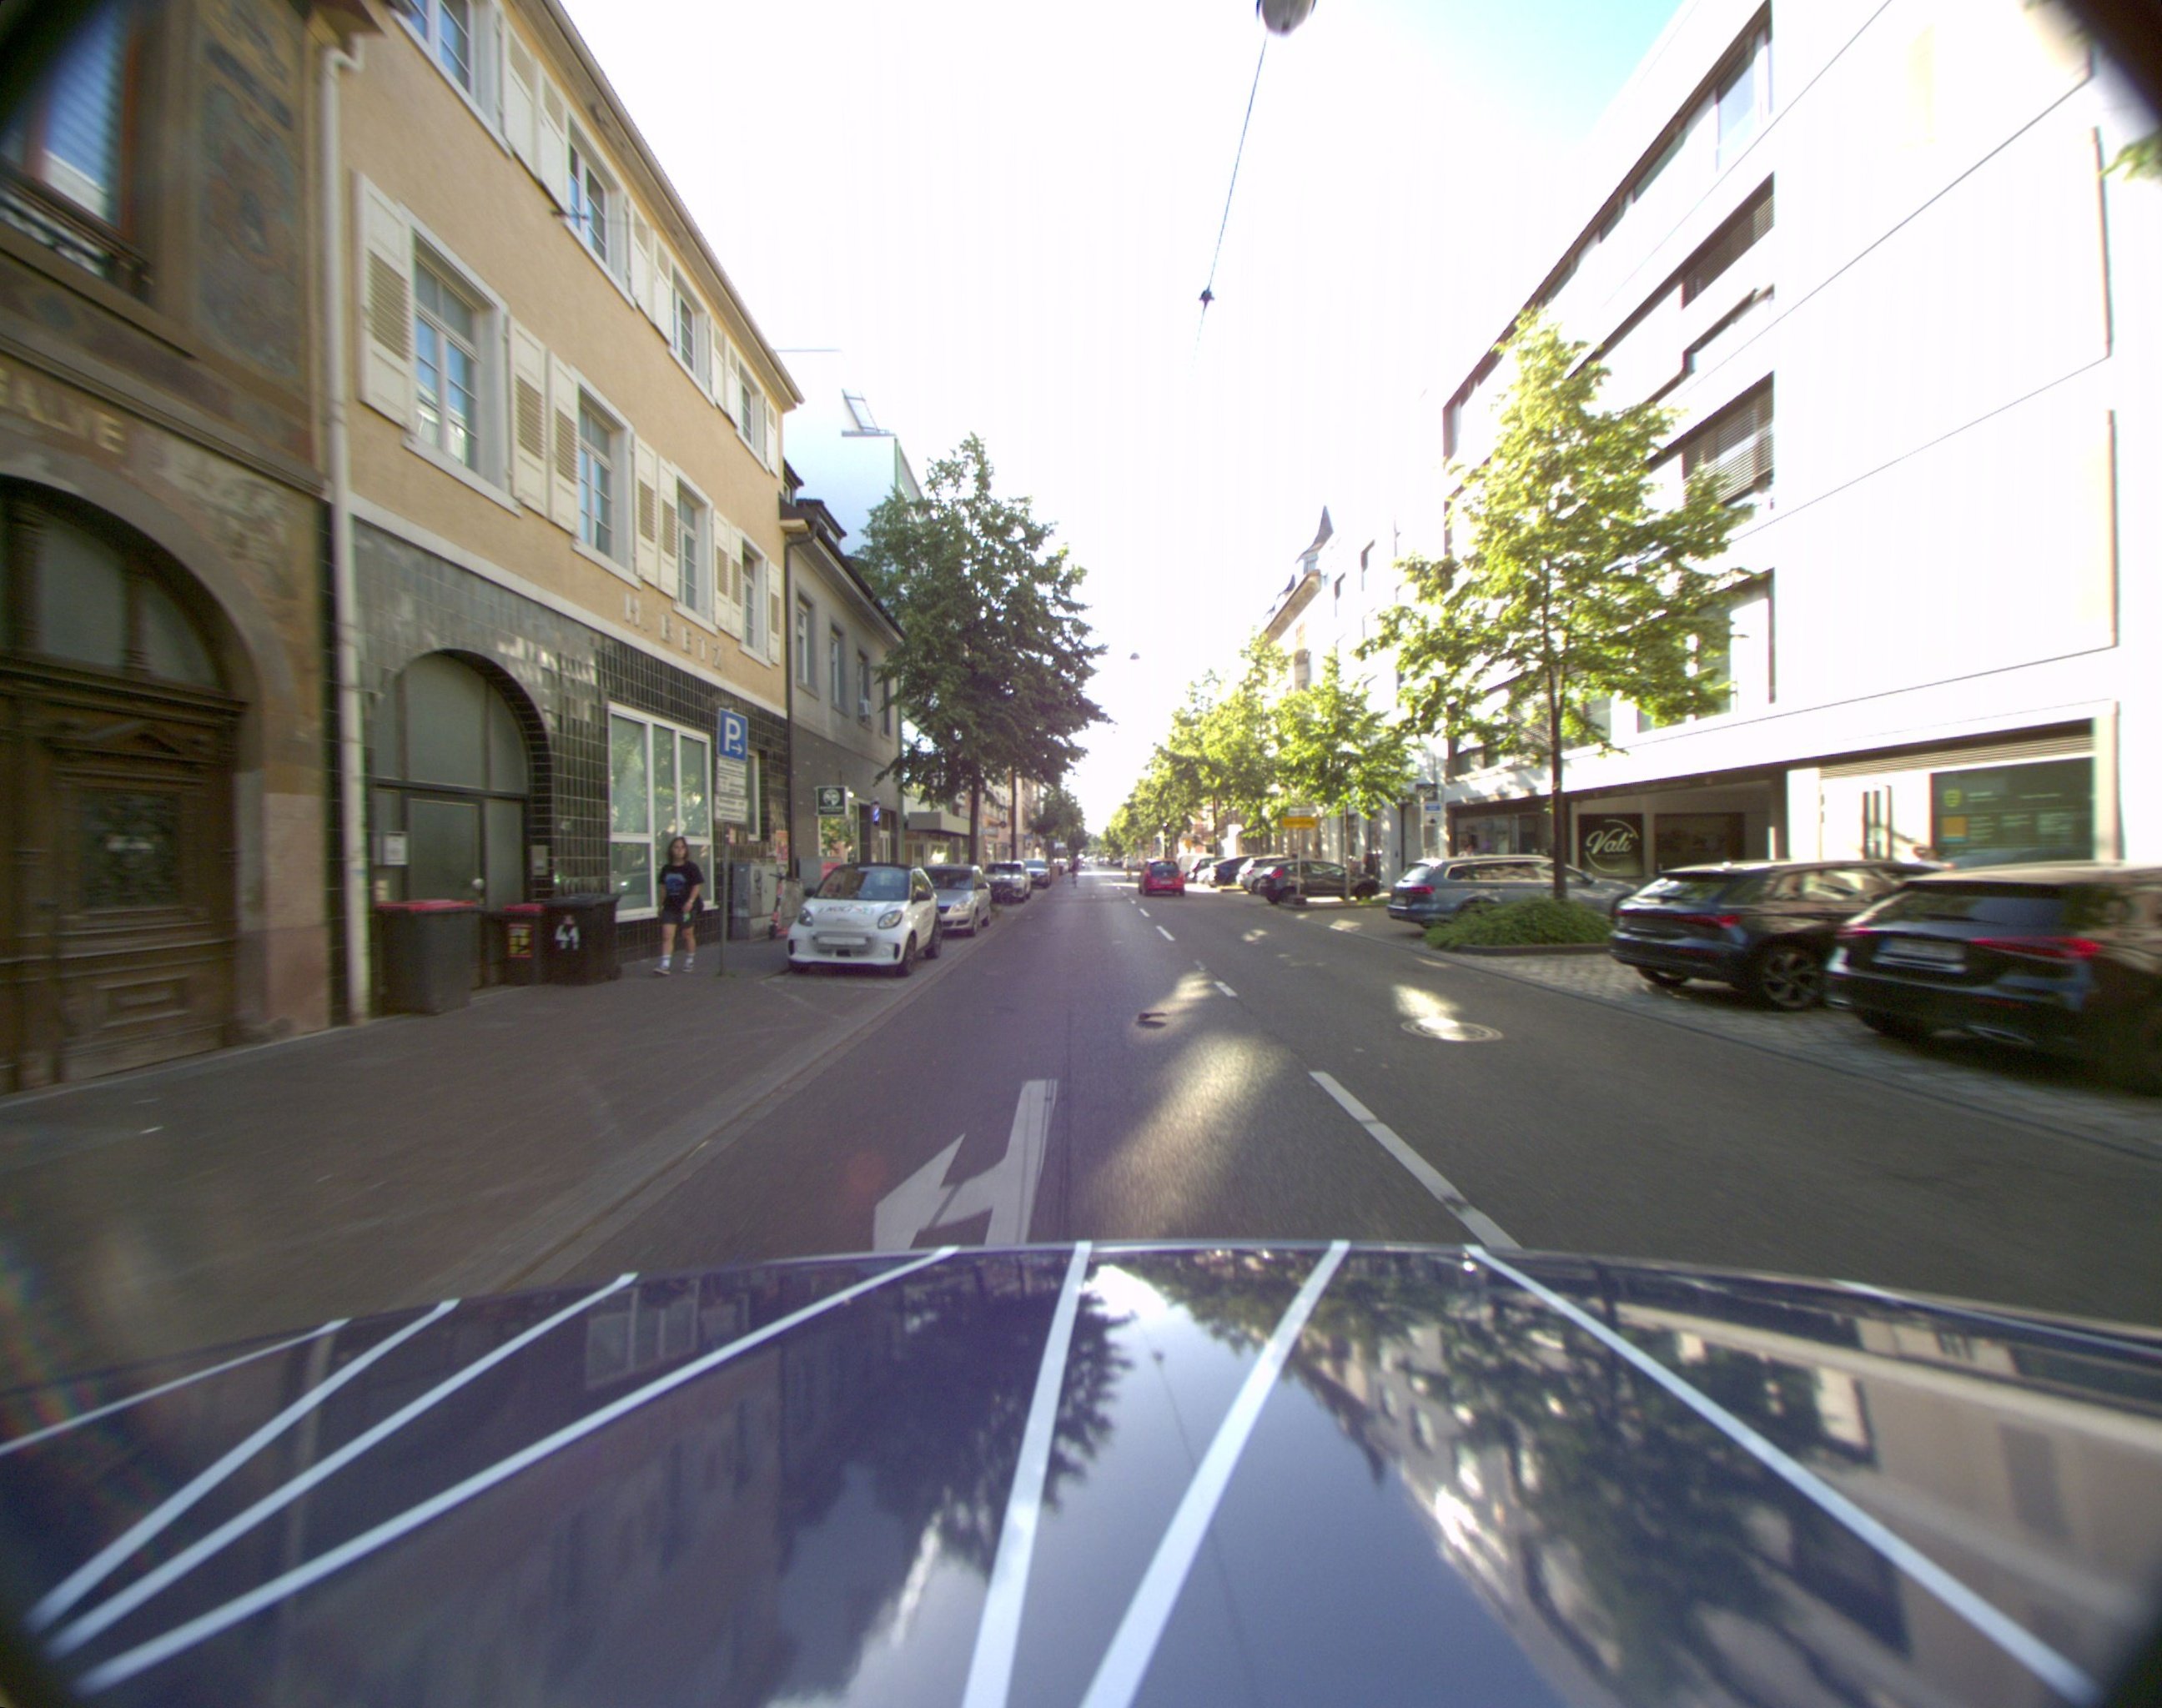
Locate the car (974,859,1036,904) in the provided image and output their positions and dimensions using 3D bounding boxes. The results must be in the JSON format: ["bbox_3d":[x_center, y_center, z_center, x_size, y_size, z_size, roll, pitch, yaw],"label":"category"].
[{"bbox_3d":[-2.829,0.989,29.082,1.888,1.518,4.234,1,0,0],"label":"car"}]

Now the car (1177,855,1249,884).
[{"bbox_3d":[7.564,0.865,43.829,3.809,1.549,1.792,-1,0,1],"label":"car"}]

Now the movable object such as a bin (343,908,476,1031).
[{"bbox_3d":[-6.282,1.058,7.145,0.590,1.034,0.722,1,0,2],"label":"movable object such as a bin"}]

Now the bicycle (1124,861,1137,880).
[{"bbox_3d":[3.112,1.045,47.973,0.727,1.162,2.197,-1,0,1],"label":"bicycle"}]

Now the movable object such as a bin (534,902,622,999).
[{"bbox_3d":[-5.848,1.105,8.867,0.523,1.034,0.722,1,0,2],"label":"movable object such as a bin"}]

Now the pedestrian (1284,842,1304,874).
[{"bbox_3d":[12.160,0.210,43.480,0.776,1.756,0.763,-5,1,-1],"label":"pedestrian"}]

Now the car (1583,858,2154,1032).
[{"bbox_3d":[7.734,0.844,7.803,3.928,1.477,1.771,-2,0,2],"label":"car"}]

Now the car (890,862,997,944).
[{"bbox_3d":[-2.961,1.003,17.218,1.618,1.520,4.234,2,0,0],"label":"car"}]

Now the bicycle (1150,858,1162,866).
[{"bbox_3d":[9.032,0.984,91.745,1.513,0.945,0.360,-2,1,41],"label":"bicycle"}]

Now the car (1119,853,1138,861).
[{"bbox_3d":[10.645,0.633,169.679,4.134,1.792,1.911,-1,0,0],"label":"car"}]

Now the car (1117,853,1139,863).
[{"bbox_3d":[9.155,0.714,149.297,4.134,1.792,1.911,-1,0,0],"label":"car"}]

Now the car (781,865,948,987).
[{"bbox_3d":[-3.096,0.964,11.439,1.618,1.520,3.060,1,0,0],"label":"car"}]

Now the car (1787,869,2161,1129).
[{"bbox_3d":[7.724,0.858,5.298,3.850,1.420,1.790,-2,0,2],"label":"car"}]

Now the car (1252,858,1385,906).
[{"bbox_3d":[7.806,0.904,25.208,3.790,1.450,1.780,-1,0,-3],"label":"car"}]

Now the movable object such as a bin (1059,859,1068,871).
[{"bbox_3d":[-1.925,1.176,81.969,0.944,1.207,0.699,0,1,1],"label":"movable object such as a bin"}]

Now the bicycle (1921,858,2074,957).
[{"bbox_3d":[12.083,0.669,10.071,0.457,1.185,1.298,-3,0,4],"label":"bicycle"}]

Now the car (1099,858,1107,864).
[{"bbox_3d":[5.236,1.620,183.519,1.835,1.410,3.833,0,0,1],"label":"car"}]

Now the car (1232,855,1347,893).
[{"bbox_3d":[8.738,0.829,32.026,4.257,1.450,1.980,-1,0,-3],"label":"car"}]

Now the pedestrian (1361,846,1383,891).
[{"bbox_3d":[11.879,0.594,30.995,0.700,1.787,0.746,-1,0,12],"label":"pedestrian"}]

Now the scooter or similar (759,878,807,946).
[{"bbox_3d":[-5.621,1.075,14.381,0.400,1.180,1.168,1,0,2],"label":"scooter or similar"}]

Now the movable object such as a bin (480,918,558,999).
[{"bbox_3d":[-6.394,1.180,8.660,0.512,0.855,0.479,-1,0,2],"label":"movable object such as a bin"}]

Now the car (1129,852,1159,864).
[{"bbox_3d":[9.119,0.534,110.402,4.134,1.670,2.000,-1,0,0],"label":"car"}]

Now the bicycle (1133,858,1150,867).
[{"bbox_3d":[7.319,0.994,92.449,2.006,1.023,0.473,-3,1,-12],"label":"bicycle"}]

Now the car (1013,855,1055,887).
[{"bbox_3d":[-2.604,0.911,42.830,1.998,1.680,4.516,2,0,0],"label":"car"}]

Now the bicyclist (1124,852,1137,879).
[{"bbox_3d":[3.098,0.703,47.847,0.727,1.690,1.282,-1,0,1],"label":"bicyclist"}]

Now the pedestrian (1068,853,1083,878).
[{"bbox_3d":[-0.301,0.648,43.715,0.804,1.381,0.931,-2,0,-1],"label":"pedestrian"}]

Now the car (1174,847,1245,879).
[{"bbox_3d":[8.071,0.559,47.984,4.115,1.825,2.039,-2,0,1],"label":"car"}]

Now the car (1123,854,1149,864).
[{"bbox_3d":[9.095,0.855,126.123,4.134,1.584,1.911,-1,0,0],"label":"car"}]

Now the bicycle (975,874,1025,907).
[{"bbox_3d":[-2.828,1.272,26.530,1.626,1.007,0.611,3,0,-1],"label":"bicycle"}]

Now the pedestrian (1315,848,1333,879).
[{"bbox_3d":[11.965,0.447,37.438,0.594,1.485,0.842,-4,0,2],"label":"pedestrian"}]

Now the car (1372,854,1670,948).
[{"bbox_3d":[8.078,0.834,14.239,4.504,1.450,1.790,-3,0,0],"label":"car"}]

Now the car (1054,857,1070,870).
[{"bbox_3d":[-2.206,1.090,89.110,1.835,1.410,4.159,1,0,0],"label":"car"}]

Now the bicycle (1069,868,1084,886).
[{"bbox_3d":[-0.271,1.324,43.747,0.805,0.958,1.996,-2,-1,0],"label":"bicycle"}]

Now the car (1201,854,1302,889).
[{"bbox_3d":[8.155,0.820,36.637,4.377,1.561,1.980,-1,0,1],"label":"car"}]

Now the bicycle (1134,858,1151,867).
[{"bbox_3d":[7.414,1.001,92.026,2.006,1.023,0.473,-3,1,-12],"label":"bicycle"}]

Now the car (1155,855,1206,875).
[{"bbox_3d":[7.994,0.888,61.069,3.788,1.455,1.710,-2,0,-2],"label":"car"}]

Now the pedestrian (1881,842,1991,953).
[{"bbox_3d":[11.359,0.561,10.120,0.509,1.400,0.825,-2,0,5],"label":"pedestrian"}]

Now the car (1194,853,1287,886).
[{"bbox_3d":[8.137,0.777,39.057,4.377,1.561,1.946,-1,0,1],"label":"car"}]

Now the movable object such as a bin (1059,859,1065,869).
[{"bbox_3d":[-2.007,1.065,80.153,0.634,1.062,0.602,0,2,2],"label":"movable object such as a bin"}]

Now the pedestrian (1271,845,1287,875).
[{"bbox_3d":[11.333,0.343,43.486,0.566,1.617,0.727,-5,1,-1],"label":"pedestrian"}]

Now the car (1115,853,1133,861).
[{"bbox_3d":[10.120,0.662,180.852,4.134,1.792,1.911,-1,0,0],"label":"car"}]

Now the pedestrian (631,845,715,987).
[{"bbox_3d":[-5.253,0.775,9.827,0.624,1.755,0.771,1,1,2],"label":"pedestrian"}]

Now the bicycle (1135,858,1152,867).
[{"bbox_3d":[7.532,1.015,91.525,2.006,1.023,0.473,-3,1,-12],"label":"bicycle"}]

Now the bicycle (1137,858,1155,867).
[{"bbox_3d":[7.777,0.997,90.527,2.006,1.023,0.473,-3,1,-12],"label":"bicycle"}]

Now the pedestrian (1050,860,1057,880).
[{"bbox_3d":[-2.069,1.194,56.980,0.474,1.520,0.462,-2,1,2],"label":"pedestrian"}]

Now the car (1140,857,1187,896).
[{"bbox_3d":[3.428,0.900,32.139,1.662,1.526,3.760,1,0,1],"label":"car"}]
